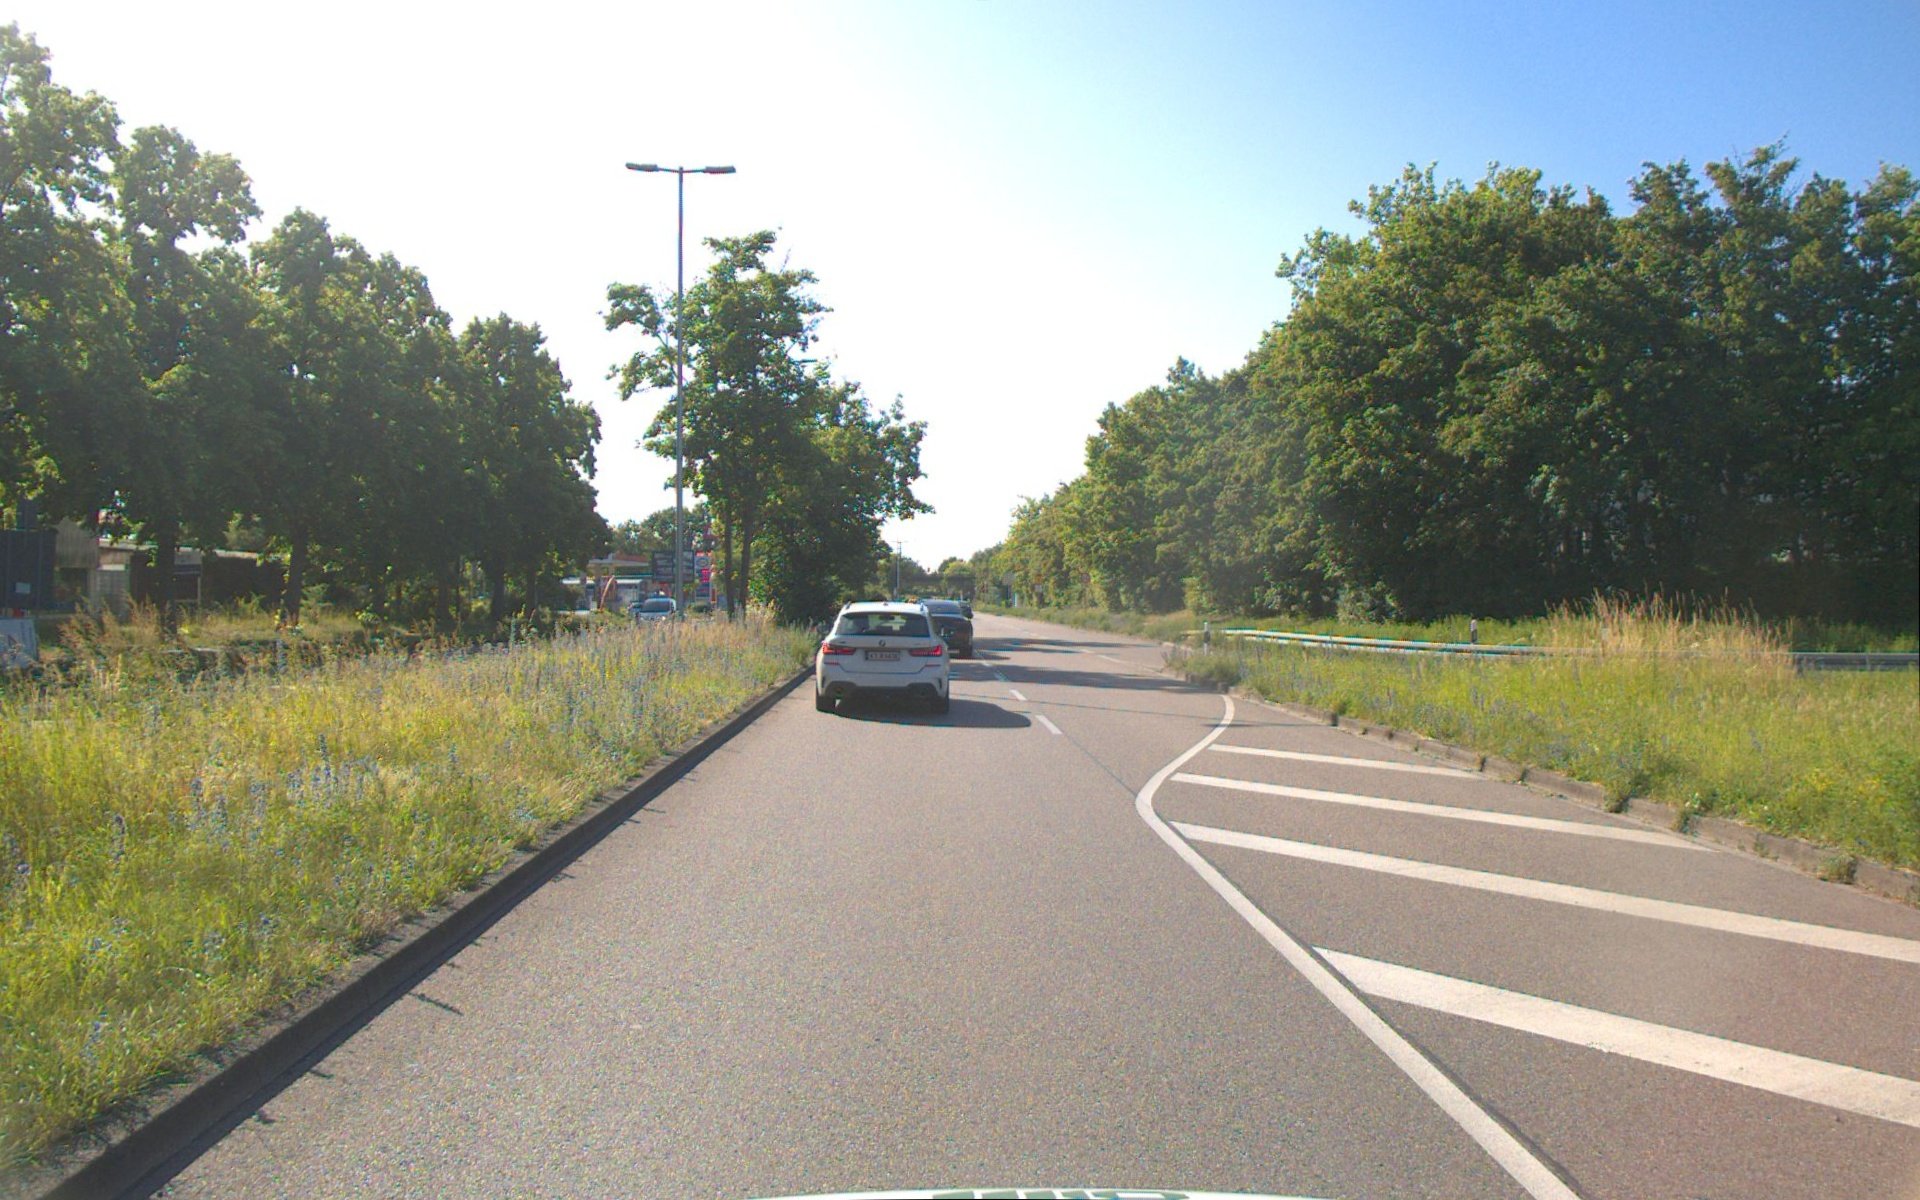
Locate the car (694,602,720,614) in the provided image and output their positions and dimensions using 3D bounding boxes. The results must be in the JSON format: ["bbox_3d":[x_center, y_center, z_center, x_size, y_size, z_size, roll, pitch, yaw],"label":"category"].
[{"bbox_3d":[-39.131,1.208,255.664,4.018,1.814,1.914,0,0,45],"label":"car"}]

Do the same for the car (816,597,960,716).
[{"bbox_3d":[-0.969,0.715,23.364,1.824,1.480,4.546,1,0,-1],"label":"car"}]

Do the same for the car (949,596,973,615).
[{"bbox_3d":[0.098,0.412,135.815,1.824,1.525,4.335,0,0,-2],"label":"car"}]

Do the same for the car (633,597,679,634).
[{"bbox_3d":[-14.790,0.741,80.668,1.672,1.777,4.163,0,0,-3],"label":"car"}]

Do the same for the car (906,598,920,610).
[{"bbox_3d":[-6.149,0.552,216.067,1.824,1.592,4.545,0,0,-2],"label":"car"}]

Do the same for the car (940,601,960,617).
[{"bbox_3d":[-0.996,0.867,164.755,1.736,1.583,3.830,-1,0,-3],"label":"car"}]

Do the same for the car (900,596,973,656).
[{"bbox_3d":[-0.676,0.650,44.484,1.824,1.480,4.546,-1,0,-2],"label":"car"}]

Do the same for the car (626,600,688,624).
[{"bbox_3d":[-22.092,0.867,120.592,4.023,1.691,1.894,-1,0,14],"label":"car"}]
